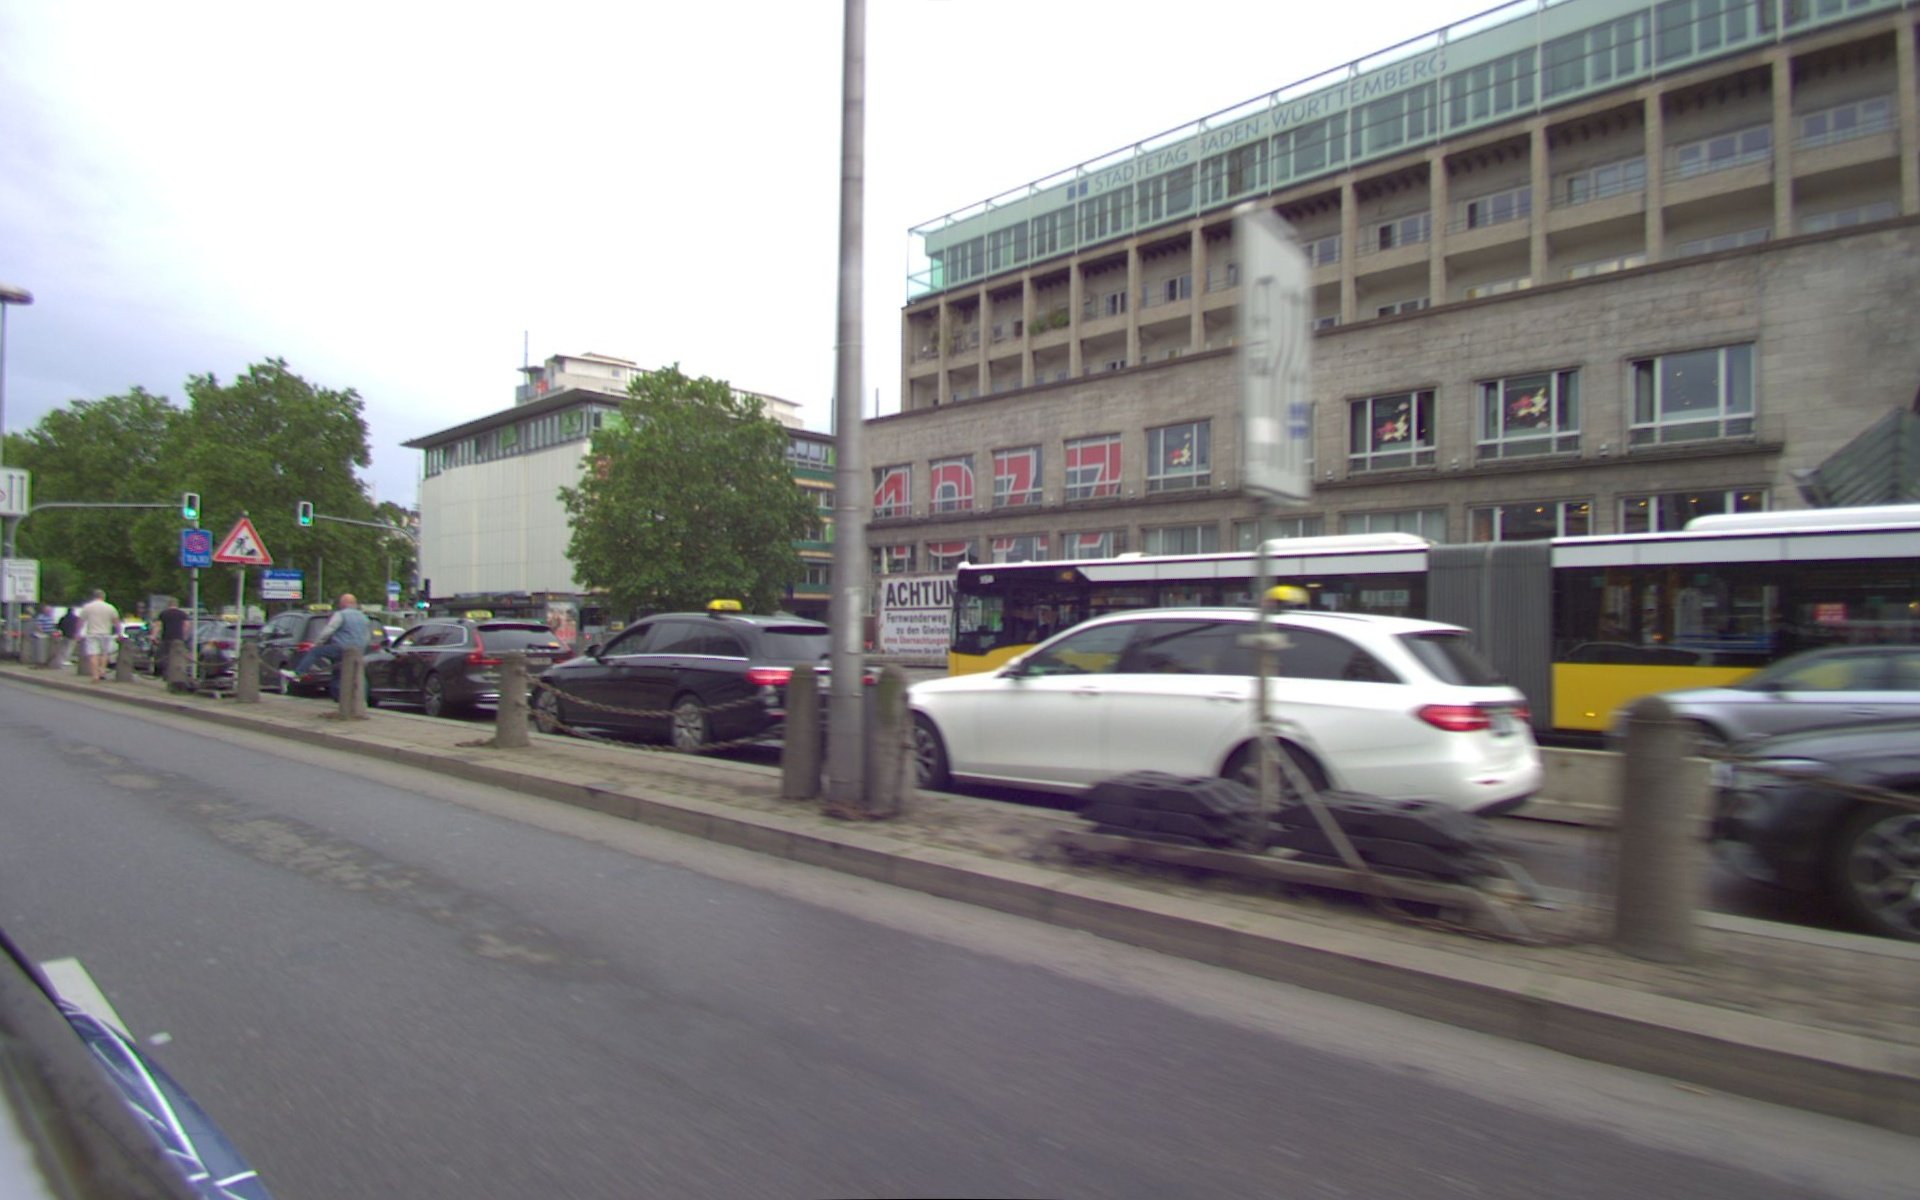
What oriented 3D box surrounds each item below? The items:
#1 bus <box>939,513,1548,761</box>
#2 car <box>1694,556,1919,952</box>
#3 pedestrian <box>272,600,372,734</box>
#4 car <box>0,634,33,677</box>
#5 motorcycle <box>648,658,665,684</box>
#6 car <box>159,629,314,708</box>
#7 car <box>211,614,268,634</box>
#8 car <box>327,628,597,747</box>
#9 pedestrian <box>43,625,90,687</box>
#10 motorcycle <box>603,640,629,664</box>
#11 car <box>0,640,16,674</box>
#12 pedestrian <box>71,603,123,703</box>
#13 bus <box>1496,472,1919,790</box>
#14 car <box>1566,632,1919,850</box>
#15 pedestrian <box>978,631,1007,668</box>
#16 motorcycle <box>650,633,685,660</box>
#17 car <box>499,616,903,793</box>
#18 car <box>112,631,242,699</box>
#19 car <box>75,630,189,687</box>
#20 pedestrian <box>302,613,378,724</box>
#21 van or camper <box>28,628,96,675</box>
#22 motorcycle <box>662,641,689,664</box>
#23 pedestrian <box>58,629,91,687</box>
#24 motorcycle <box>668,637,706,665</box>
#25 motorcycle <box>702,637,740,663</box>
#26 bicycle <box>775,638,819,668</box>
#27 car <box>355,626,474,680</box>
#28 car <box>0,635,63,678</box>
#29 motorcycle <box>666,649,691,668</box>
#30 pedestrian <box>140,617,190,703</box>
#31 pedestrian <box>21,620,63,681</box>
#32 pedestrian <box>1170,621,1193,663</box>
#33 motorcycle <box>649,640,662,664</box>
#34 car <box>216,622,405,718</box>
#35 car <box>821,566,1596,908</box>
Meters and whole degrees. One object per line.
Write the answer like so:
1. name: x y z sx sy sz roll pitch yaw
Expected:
1. bus: 4.424 0.669 18.503 10.571 3.402 2.846 -2 -3 42
2. car: 5.840 0.626 3.634 5.049 1.589 1.910 -1 -3 41
3. pedestrian: -8.864 0.909 14.077 0.616 1.782 1.039 -1 -2 40
4. car: -45.875 2.652 48.215 4.517 1.912 1.884 -2 -1 39
5. motorcycle: -13.741 3.184 45.830 0.593 1.065 1.819 -1 -1 -12
6. car: -17.321 1.559 24.148 4.679 1.703 1.909 -1 -3 41
7. car: -77.792 2.559 109.319 2.036 2.029 4.766 -3 -2 43
8. car: -8.005 1.258 16.013 5.258 1.589 1.909 -1 -3 41
9. pedestrian: -26.425 1.651 29.940 0.604 1.789 0.776 -1 -4 29
10. motorcycle: -15.915 2.397 46.823 0.471 1.054 1.625 -1 -1 -43
11. car: -50.383 2.941 52.263 4.477 1.735 1.766 -3 -3 39
12. pedestrian: -17.957 1.087 21.053 0.772 2.023 0.715 -2 -1 41
13. bus: 12.279 0.331 11.468 10.571 3.486 2.847 -2 -2 42
14. car: 8.569 1.278 10.016 4.116 1.842 1.973 -2 -1 40
15. pedestrian: 1.019 1.542 31.521 0.693 1.117 0.624 -1 -1 28
16. motorcycle: -12.546 1.990 43.410 0.600 1.065 1.428 -2 -1 30
17. car: -3.116 1.024 11.513 5.009 1.589 1.910 -1 -3 41
18. car: -21.733 1.737 28.014 4.679 1.703 1.909 -1 -3 41
19. car: -26.007 1.780 31.737 4.840 1.633 1.994 -2 -2 41
20. pedestrian: -9.499 1.028 15.498 0.995 1.619 0.715 -2 -1 41
21. van or camper: -50.839 2.918 57.272 5.365 2.533 1.973 -2 -5 40
22. motorcycle: -13.801 2.551 49.062 0.574 1.065 1.626 -1 -1 -41
23. pedestrian: -26.764 1.748 30.595 0.592 1.724 0.644 -2 -1 39
24. motorcycle: -12.787 2.373 47.447 0.691 1.237 1.941 -2 -1 22
25. motorcycle: -10.969 2.294 46.513 0.582 1.143 1.793 -2 -1 35
26. bicycle: -6.962 2.242 43.281 0.595 1.189 2.071 -2 -1 33
27. car: -18.233 1.730 33.759 4.679 1.703 1.909 -1 -3 41
28. car: -41.049 2.447 44.366 4.494 1.712 1.884 -2 -1 39
29. motorcycle: -16.679 3.471 59.963 1.715 1.055 0.525 -2 -2 38
30. pedestrian: -16.715 1.250 21.282 0.711 1.768 0.691 -2 -2 41
31. pedestrian: -27.533 1.529 30.364 0.550 1.789 0.754 2 -4 -15
32. pedestrian: 9.209 1.742 42.069 0.745 1.730 0.624 -1 -2 28
33. motorcycle: -15.277 2.598 50.801 0.573 1.142 1.628 -1 -1 -16
34. car: -13.085 1.320 20.280 4.679 1.703 1.909 -1 -3 41
35. car: 1.462 0.754 7.416 5.189 1.672 1.956 -1 -3 41
